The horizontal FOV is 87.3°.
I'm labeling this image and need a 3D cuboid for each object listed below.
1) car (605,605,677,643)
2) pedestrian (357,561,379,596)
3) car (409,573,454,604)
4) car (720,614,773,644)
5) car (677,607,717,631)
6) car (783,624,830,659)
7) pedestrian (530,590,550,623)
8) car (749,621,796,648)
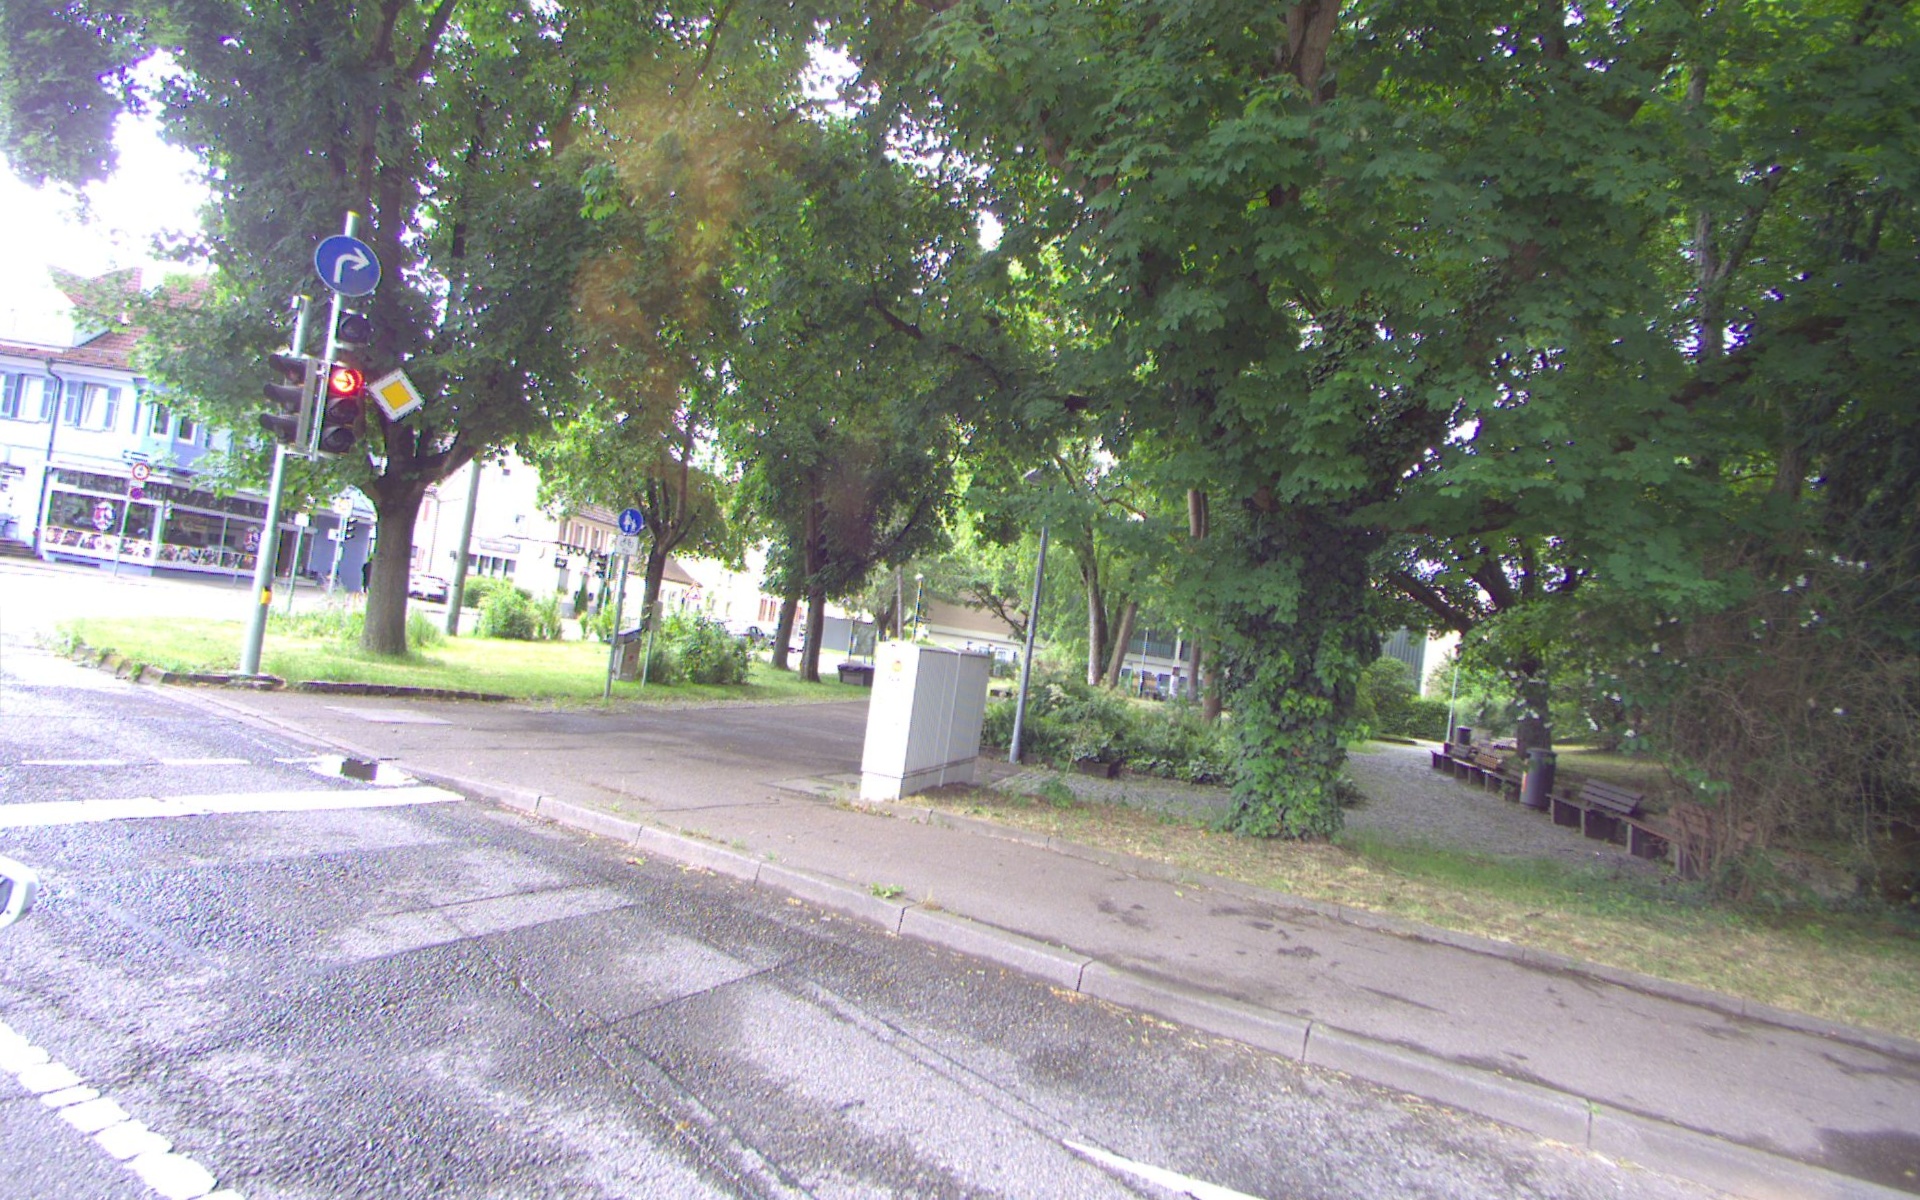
[{"bbox_3d":[-14.012,1.091,44.361,1.530,1.336,3.514,7,-2,9],"label":"car"},{"bbox_3d":[-27.484,-1.011,46.701,0.576,1.535,0.460,7,-1,12],"label":"pedestrian"},{"bbox_3d":[-27.874,-0.601,53.147,1.479,1.384,3.166,8,-2,-19],"label":"car"},{"bbox_3d":[-11.572,1.598,54.826,1.530,1.336,3.514,7,-2,9],"label":"car"},{"bbox_3d":[-19.376,1.445,74.253,1.528,1.436,4.005,7,-2,4],"label":"car"},{"bbox_3d":[-10.061,2.760,66.180,1.750,2.037,4.005,7,-2,7],"label":"car"},{"bbox_3d":[-22.146,0.351,53.072,0.600,1.668,0.610,7,-1,3],"label":"pedestrian"},{"bbox_3d":[-11.171,2.072,60.111,1.530,1.336,3.514,7,-2,8],"label":"car"}]
